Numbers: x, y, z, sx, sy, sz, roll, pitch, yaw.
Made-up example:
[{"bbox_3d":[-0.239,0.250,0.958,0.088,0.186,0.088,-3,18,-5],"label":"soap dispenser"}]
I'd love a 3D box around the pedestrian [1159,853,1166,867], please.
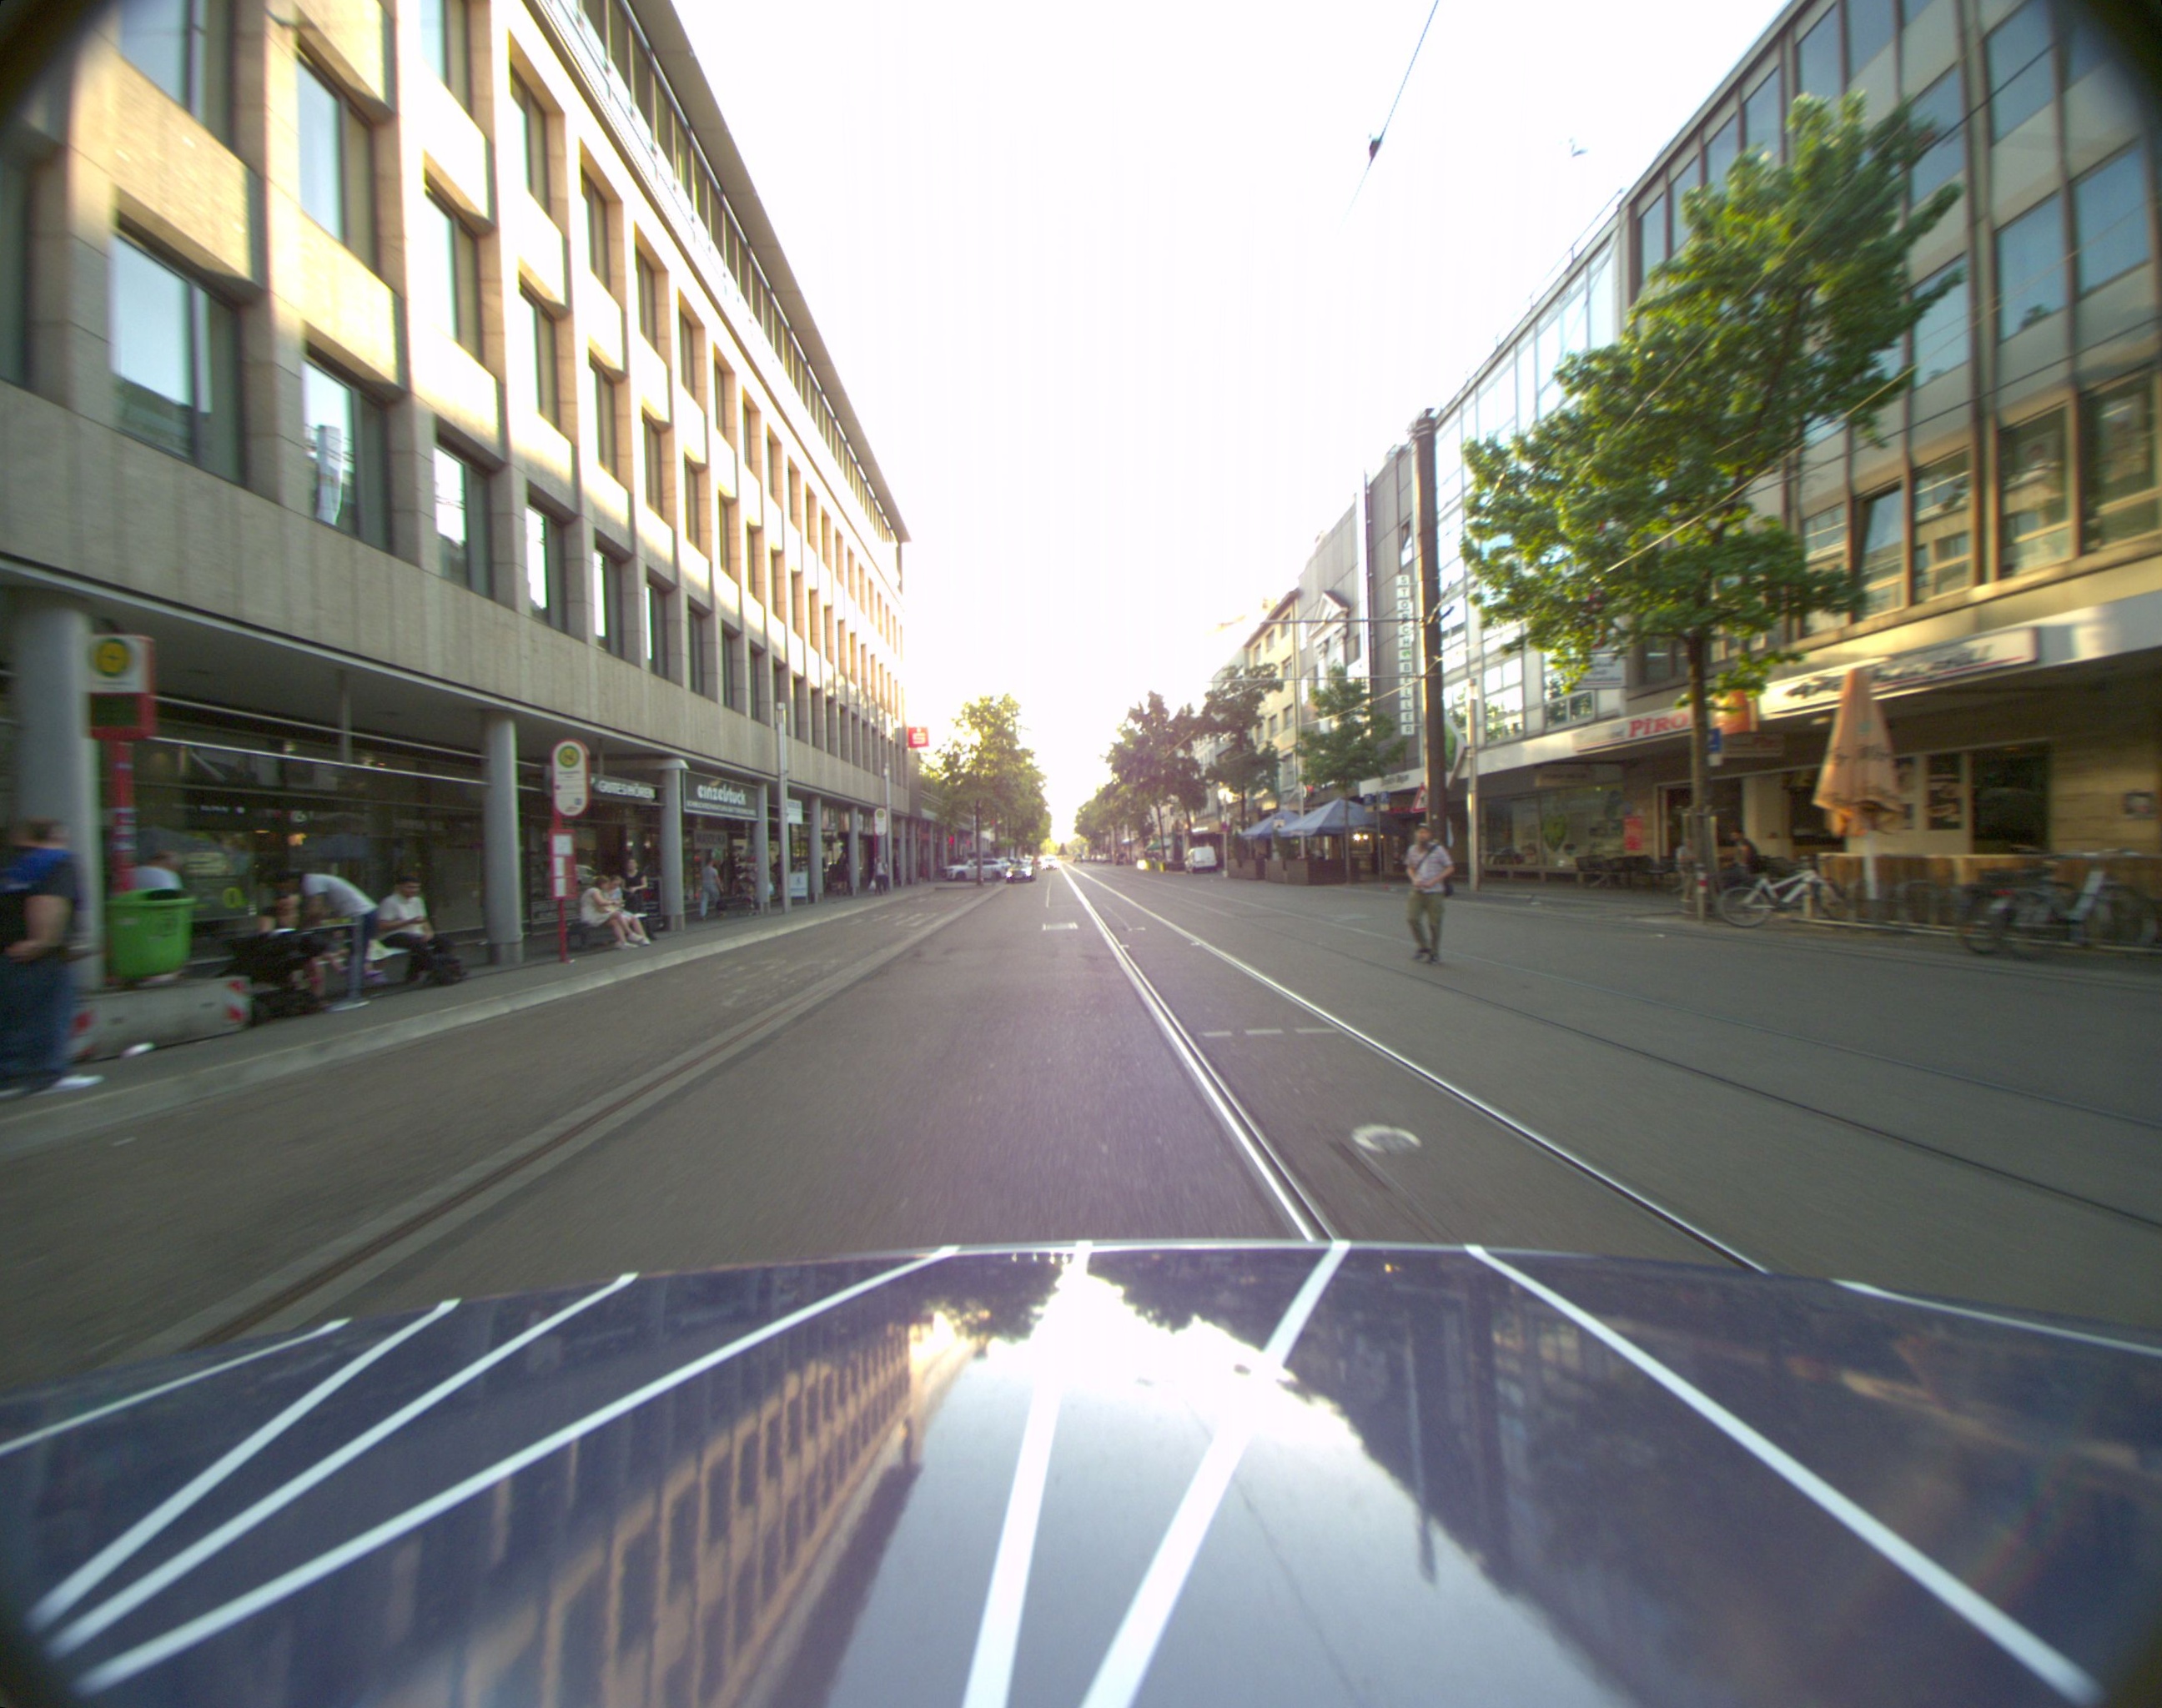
[{"bbox_3d":[8.489,0.602,79.125,0.649,1.378,0.650,-1,1,5],"label":"pedestrian"}]

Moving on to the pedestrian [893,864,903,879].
[{"bbox_3d":[-12.611,1.219,52.451,0.628,1.030,0.557,-1,1,-10],"label":"pedestrian"}]

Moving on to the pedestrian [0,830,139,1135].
[{"bbox_3d":[-6.848,0.774,4.868,0.670,1.829,0.708,-1,1,-2],"label":"pedestrian"}]

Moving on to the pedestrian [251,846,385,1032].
[{"bbox_3d":[-7.816,0.837,7.814,0.641,1.829,0.667,-1,1,-1],"label":"pedestrian"}]

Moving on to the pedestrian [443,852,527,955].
[{"bbox_3d":[-11.266,0.914,14.402,0.846,1.878,0.899,-1,1,-1],"label":"pedestrian"}]

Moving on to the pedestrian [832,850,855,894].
[{"bbox_3d":[-10.113,0.755,32.379,0.708,1.878,0.796,-1,1,-1],"label":"pedestrian"}]

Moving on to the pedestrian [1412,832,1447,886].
[{"bbox_3d":[12.092,0.156,26.386,0.685,1.782,0.990,-4,1,4],"label":"pedestrian"}]

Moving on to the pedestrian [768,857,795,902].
[{"bbox_3d":[-11.134,0.954,28.294,0.682,1.634,0.788,-1,1,-3],"label":"pedestrian"}]

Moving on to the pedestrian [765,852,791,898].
[{"bbox_3d":[-11.770,0.812,29.541,0.675,1.762,0.863,-1,1,-3],"label":"pedestrian"}]

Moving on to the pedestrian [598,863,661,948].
[{"bbox_3d":[-8.657,0.966,14.591,0.726,1.561,0.736,-1,1,0],"label":"pedestrian"}]

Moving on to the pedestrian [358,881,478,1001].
[{"bbox_3d":[-8.163,1.054,9.384,0.815,1.373,0.662,-2,1,0],"label":"pedestrian"}]

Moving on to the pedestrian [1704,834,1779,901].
[{"bbox_3d":[13.715,0.274,15.802,0.672,1.318,0.912,-4,1,-3],"label":"pedestrian"}]

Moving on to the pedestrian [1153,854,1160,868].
[{"bbox_3d":[7.481,0.682,75.140,0.649,1.378,0.650,-1,1,5],"label":"pedestrian"}]

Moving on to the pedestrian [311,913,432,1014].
[{"bbox_3d":[-8.075,1.232,8.675,0.815,1.036,0.544,-2,1,0],"label":"pedestrian"}]

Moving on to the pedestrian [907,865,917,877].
[{"bbox_3d":[-12.520,1.280,56.427,0.627,0.876,0.558,-1,1,-2],"label":"pedestrian"}]

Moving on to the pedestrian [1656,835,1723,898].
[{"bbox_3d":[13.590,0.269,16.994,0.672,1.318,0.912,-4,1,-3],"label":"pedestrian"}]

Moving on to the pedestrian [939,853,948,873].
[{"bbox_3d":[-11.317,0.726,62.731,0.618,1.681,0.628,-1,1,-1],"label":"pedestrian"}]

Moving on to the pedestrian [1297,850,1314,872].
[{"bbox_3d":[12.368,0.384,41.913,0.643,1.150,0.665,-4,1,-4],"label":"pedestrian"}]

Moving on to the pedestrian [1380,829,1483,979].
[{"bbox_3d":[4.505,0.608,9.752,0.820,1.782,0.992,-3,1,44],"label":"pedestrian"}]

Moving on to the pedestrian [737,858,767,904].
[{"bbox_3d":[-12.087,0.972,27.944,0.712,1.634,0.818,-1,1,-3],"label":"pedestrian"}]

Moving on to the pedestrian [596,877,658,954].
[{"bbox_3d":[-8.059,1.079,13.502,0.720,1.307,0.524,-2,1,0],"label":"pedestrian"}]

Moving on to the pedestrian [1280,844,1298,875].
[{"bbox_3d":[10.893,0.284,39.751,0.658,1.543,0.565,-4,2,-3],"label":"pedestrian"}]

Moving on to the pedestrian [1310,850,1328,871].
[{"bbox_3d":[13.176,0.350,42.079,0.643,1.150,0.665,-4,1,-4],"label":"pedestrian"}]

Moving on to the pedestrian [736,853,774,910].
[{"bbox_3d":[-10.586,0.881,24.689,0.846,1.787,0.858,-1,1,-1],"label":"pedestrian"}]

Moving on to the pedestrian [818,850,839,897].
[{"bbox_3d":[-10.330,0.791,31.107,0.618,1.878,0.683,-1,1,0],"label":"pedestrian"}]

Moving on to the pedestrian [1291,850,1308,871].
[{"bbox_3d":[12.372,0.373,42.988,0.643,1.150,0.665,-4,1,-4],"label":"pedestrian"}]

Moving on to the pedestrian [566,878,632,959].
[{"bbox_3d":[-8.196,1.090,12.944,0.720,1.307,0.532,-2,1,0],"label":"pedestrian"}]

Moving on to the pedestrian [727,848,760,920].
[{"bbox_3d":[-9.263,0.808,20.877,0.579,1.933,0.655,-1,1,-2],"label":"pedestrian"}]

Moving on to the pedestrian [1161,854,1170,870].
[{"bbox_3d":[7.654,0.701,68.849,0.650,1.451,0.650,-2,1,-1],"label":"pedestrian"}]

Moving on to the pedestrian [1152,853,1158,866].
[{"bbox_3d":[7.802,0.618,80.283,0.649,1.378,0.650,-1,1,5],"label":"pedestrian"}]

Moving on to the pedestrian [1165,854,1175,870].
[{"bbox_3d":[7.966,0.697,67.917,0.648,1.451,0.651,-1,1,28],"label":"pedestrian"}]
